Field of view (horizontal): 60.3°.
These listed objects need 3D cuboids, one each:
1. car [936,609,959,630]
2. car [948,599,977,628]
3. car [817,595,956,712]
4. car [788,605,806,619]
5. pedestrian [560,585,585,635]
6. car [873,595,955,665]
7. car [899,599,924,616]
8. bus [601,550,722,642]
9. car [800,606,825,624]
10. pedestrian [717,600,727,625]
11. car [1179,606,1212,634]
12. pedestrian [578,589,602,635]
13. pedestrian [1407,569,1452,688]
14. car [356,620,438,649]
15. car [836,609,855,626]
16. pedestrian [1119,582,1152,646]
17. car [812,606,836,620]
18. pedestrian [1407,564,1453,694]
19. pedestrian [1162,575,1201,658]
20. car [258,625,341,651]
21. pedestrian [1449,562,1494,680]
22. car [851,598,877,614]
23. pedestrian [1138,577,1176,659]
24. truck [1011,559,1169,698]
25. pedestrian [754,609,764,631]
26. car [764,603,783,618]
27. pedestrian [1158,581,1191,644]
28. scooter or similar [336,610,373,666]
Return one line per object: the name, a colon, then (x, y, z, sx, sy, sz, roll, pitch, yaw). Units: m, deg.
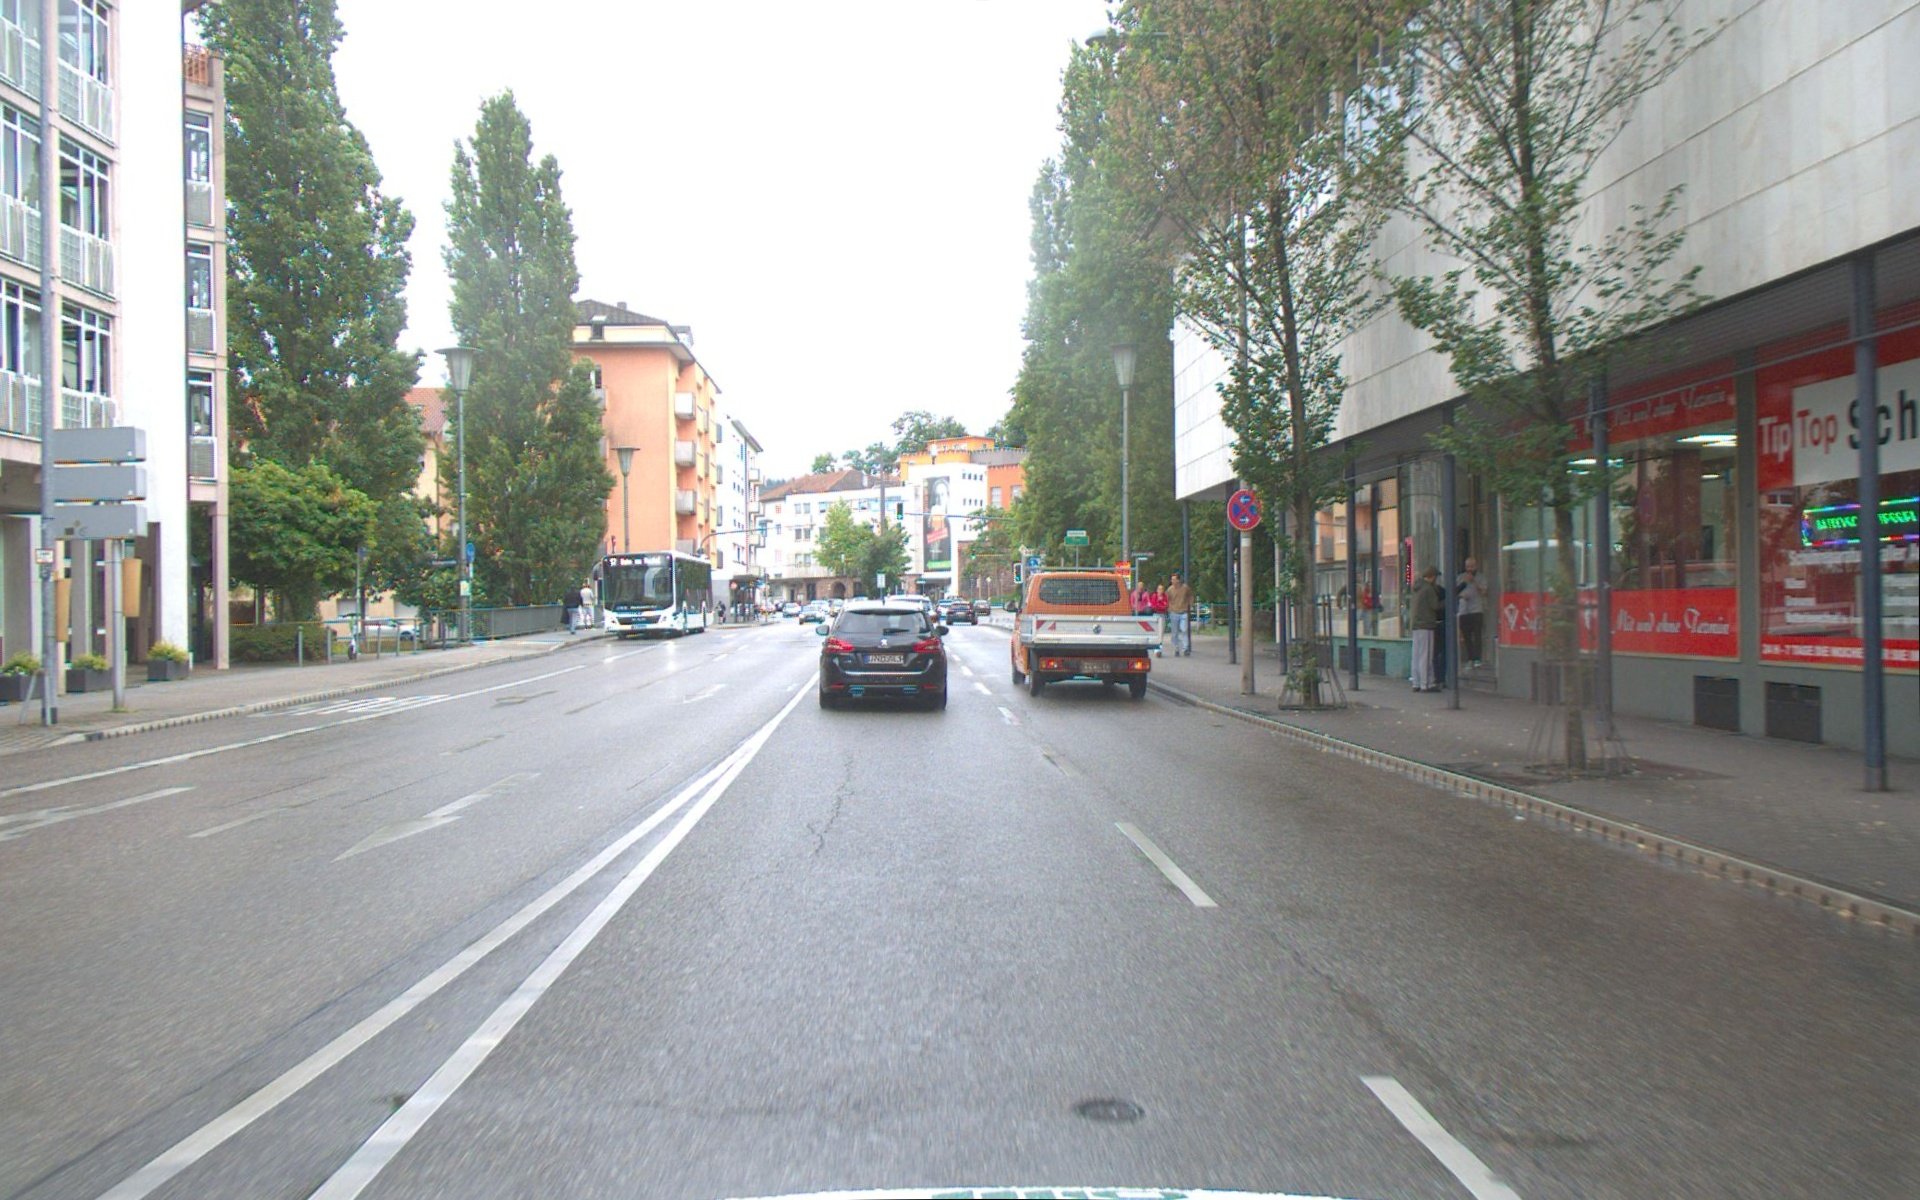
car: (-1.118, 1.711, 146.338, 1.953, 1.853, 3.998, 0, 0, -2)
car: (0.127, 0.858, 103.813, 1.612, 1.592, 3.598, 2, -3, -2)
car: (-0.968, 0.738, 23.676, 1.758, 1.509, 4.000, 1, -1, 1)
car: (-17.363, 1.260, 176.466, 1.631, 1.424, 3.874, -2, 0, -3)
pedestrian: (-14.162, 0.369, 60.438, 0.684, 1.825, 0.958, 0, -1, 1)
car: (-1.029, 0.677, 38.807, 1.758, 1.509, 4.000, -1, 0, 0)
car: (-5.214, 0.812, 176.537, 1.959, 1.713, 3.986, -1, 0, -13)
bus: (-11.083, -0.269, 62.680, 2.689, 3.129, 12.234, -1, 1, -2)
car: (-11.736, 1.196, 131.683, 1.756, 1.348, 4.404, -1, 0, -3)
pedestrian: (-17.605, 0.928, 122.312, 0.626, 1.893, 0.523, 0, 0, -4)
car: (18.976, 1.613, 133.517, 1.865, 2.049, 3.722, 2, -3, -4)
pedestrian: (-14.799, 0.465, 66.145, 0.780, 1.825, 0.812, 0, -1, 0)
pedestrian: (7.010, 0.422, 24.720, 0.525, 1.749, 0.535, -1, 0, 6)
car: (-31.783, 1.944, 93.456, 3.906, 1.412, 1.898, -2, 0, -2)
car: (-10.546, 1.615, 152.011, 1.631, 1.424, 3.874, -2, 0, -3)
pedestrian: (4.681, 0.371, 44.095, 0.703, 1.648, 0.769, -2, 0, -3)
car: (-14.688, 1.359, 178.545, 1.639, 1.424, 3.856, -2, 0, -18)
pedestrian: (6.804, 0.414, 23.980, 0.525, 1.852, 0.535, -1, 0, 6)
pedestrian: (4.971, 0.362, 37.149, 0.684, 1.833, 0.606, -2, 0, -3)
car: (-37.232, 2.123, 93.311, 3.906, 1.412, 1.898, -1, 0, -2)
pedestrian: (7.687, 0.315, 24.861, 0.525, 1.749, 0.535, -1, 0, 8)
car: (-10.728, 0.693, 184.163, 1.625, 1.592, 3.568, 3, -3, -26)
pedestrian: (4.436, 0.390, 37.219, 0.640, 1.798, 0.922, -2, 0, -3)
truck: (2.002, 0.462, 26.922, 2.079, 2.061, 4.713, 0, -1, -2)
pedestrian: (-18.577, 1.845, 152.846, 0.720, 2.049, 0.649, 4, -3, -35)
car: (-21.768, 1.241, 193.049, 1.957, 1.713, 3.992, -1, 0, -9)
pedestrian: (5.659, 0.336, 43.572, 0.711, 1.617, 0.606, -2, 0, -3)
scooter or similar: (-15.565, 0.957, 42.535, 0.472, 1.336, 1.570, -1, 2, -6)
